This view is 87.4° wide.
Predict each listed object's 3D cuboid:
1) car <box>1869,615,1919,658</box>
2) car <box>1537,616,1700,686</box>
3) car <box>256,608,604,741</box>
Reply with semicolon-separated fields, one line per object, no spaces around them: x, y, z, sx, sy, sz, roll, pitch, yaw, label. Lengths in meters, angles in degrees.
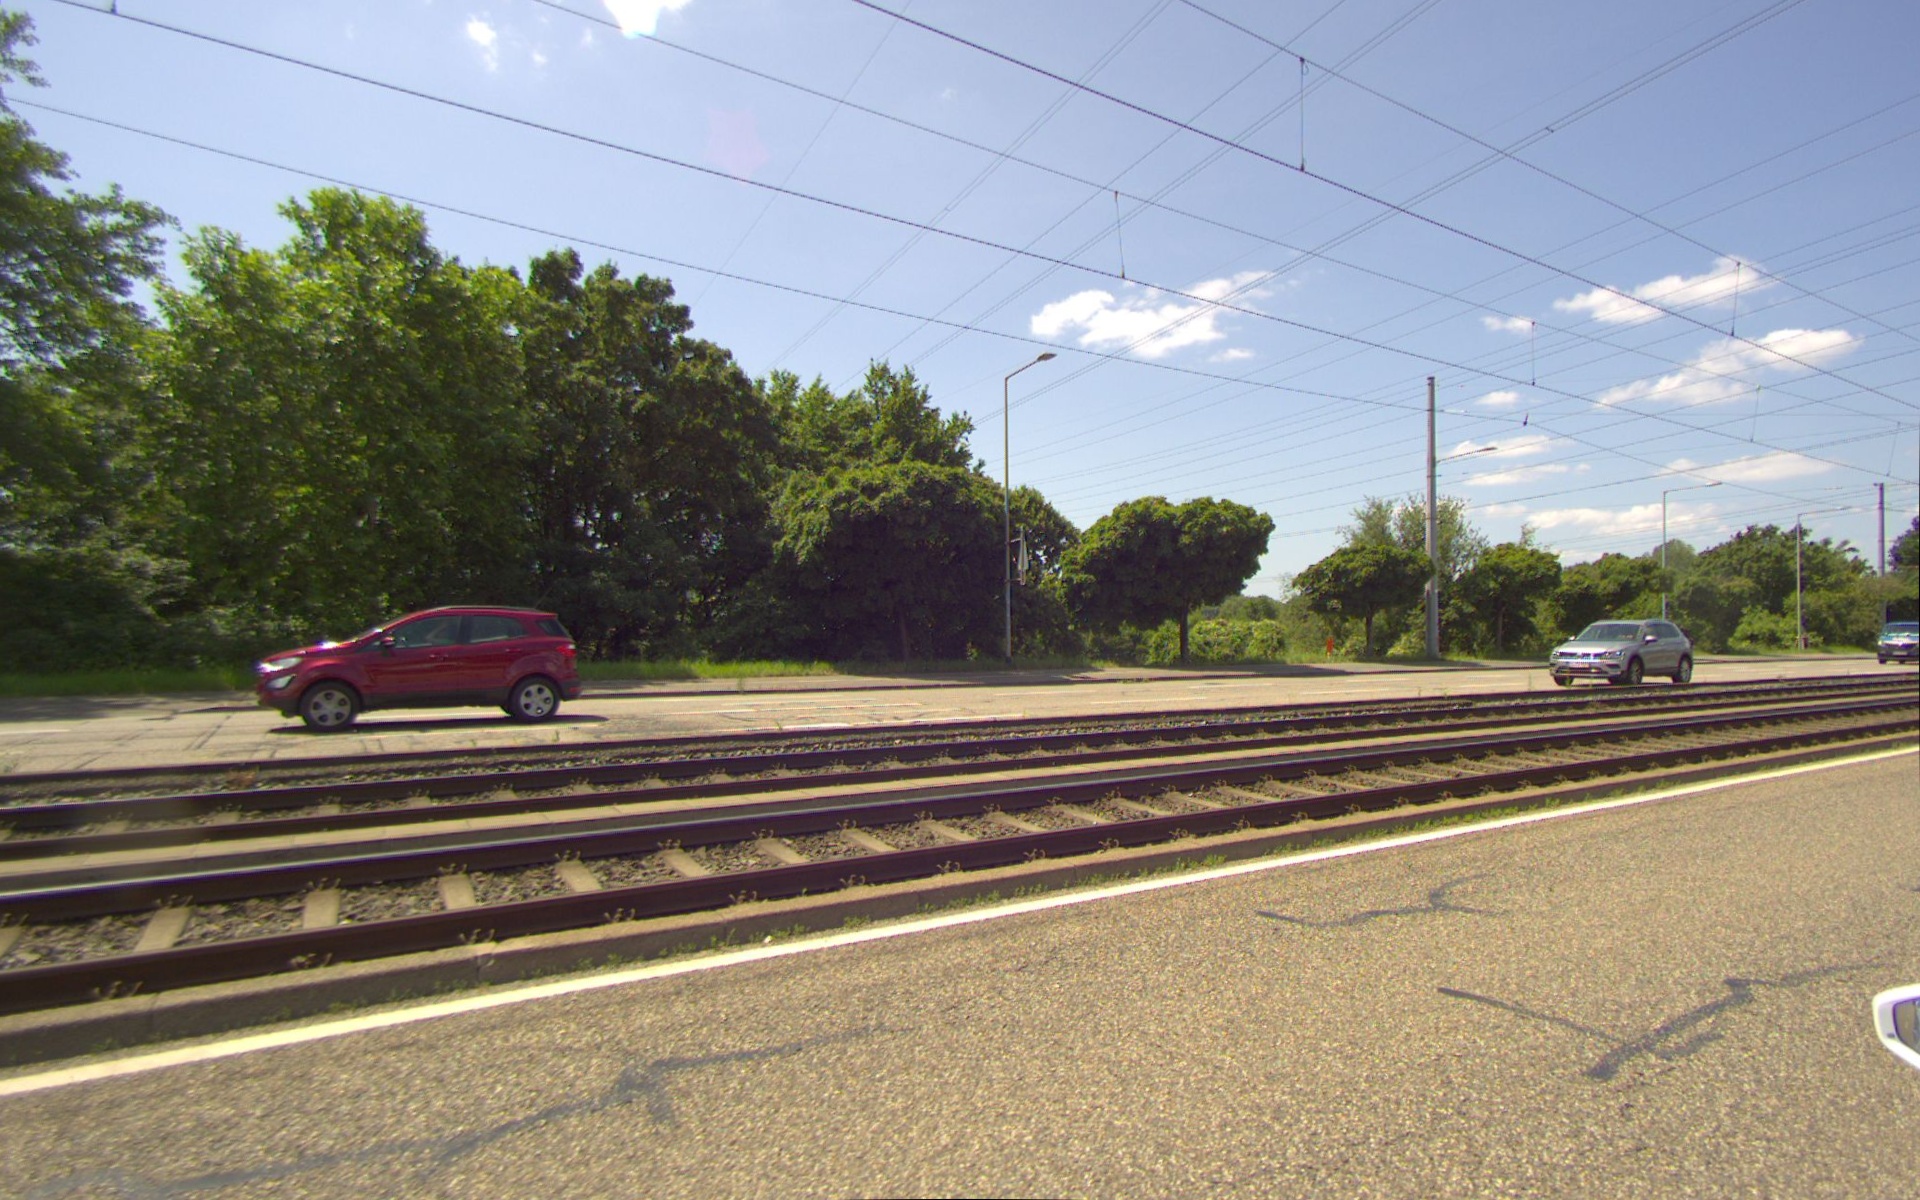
44.762;1.714;47.161;4.953;1.953;1.847;1;-2;-33;car
16.749;1.250;25.490;4.445;1.646;1.791;1;-2;-33;car
-7.441;0.979;14.346;4.165;1.646;1.791;1;-2;-33;car
